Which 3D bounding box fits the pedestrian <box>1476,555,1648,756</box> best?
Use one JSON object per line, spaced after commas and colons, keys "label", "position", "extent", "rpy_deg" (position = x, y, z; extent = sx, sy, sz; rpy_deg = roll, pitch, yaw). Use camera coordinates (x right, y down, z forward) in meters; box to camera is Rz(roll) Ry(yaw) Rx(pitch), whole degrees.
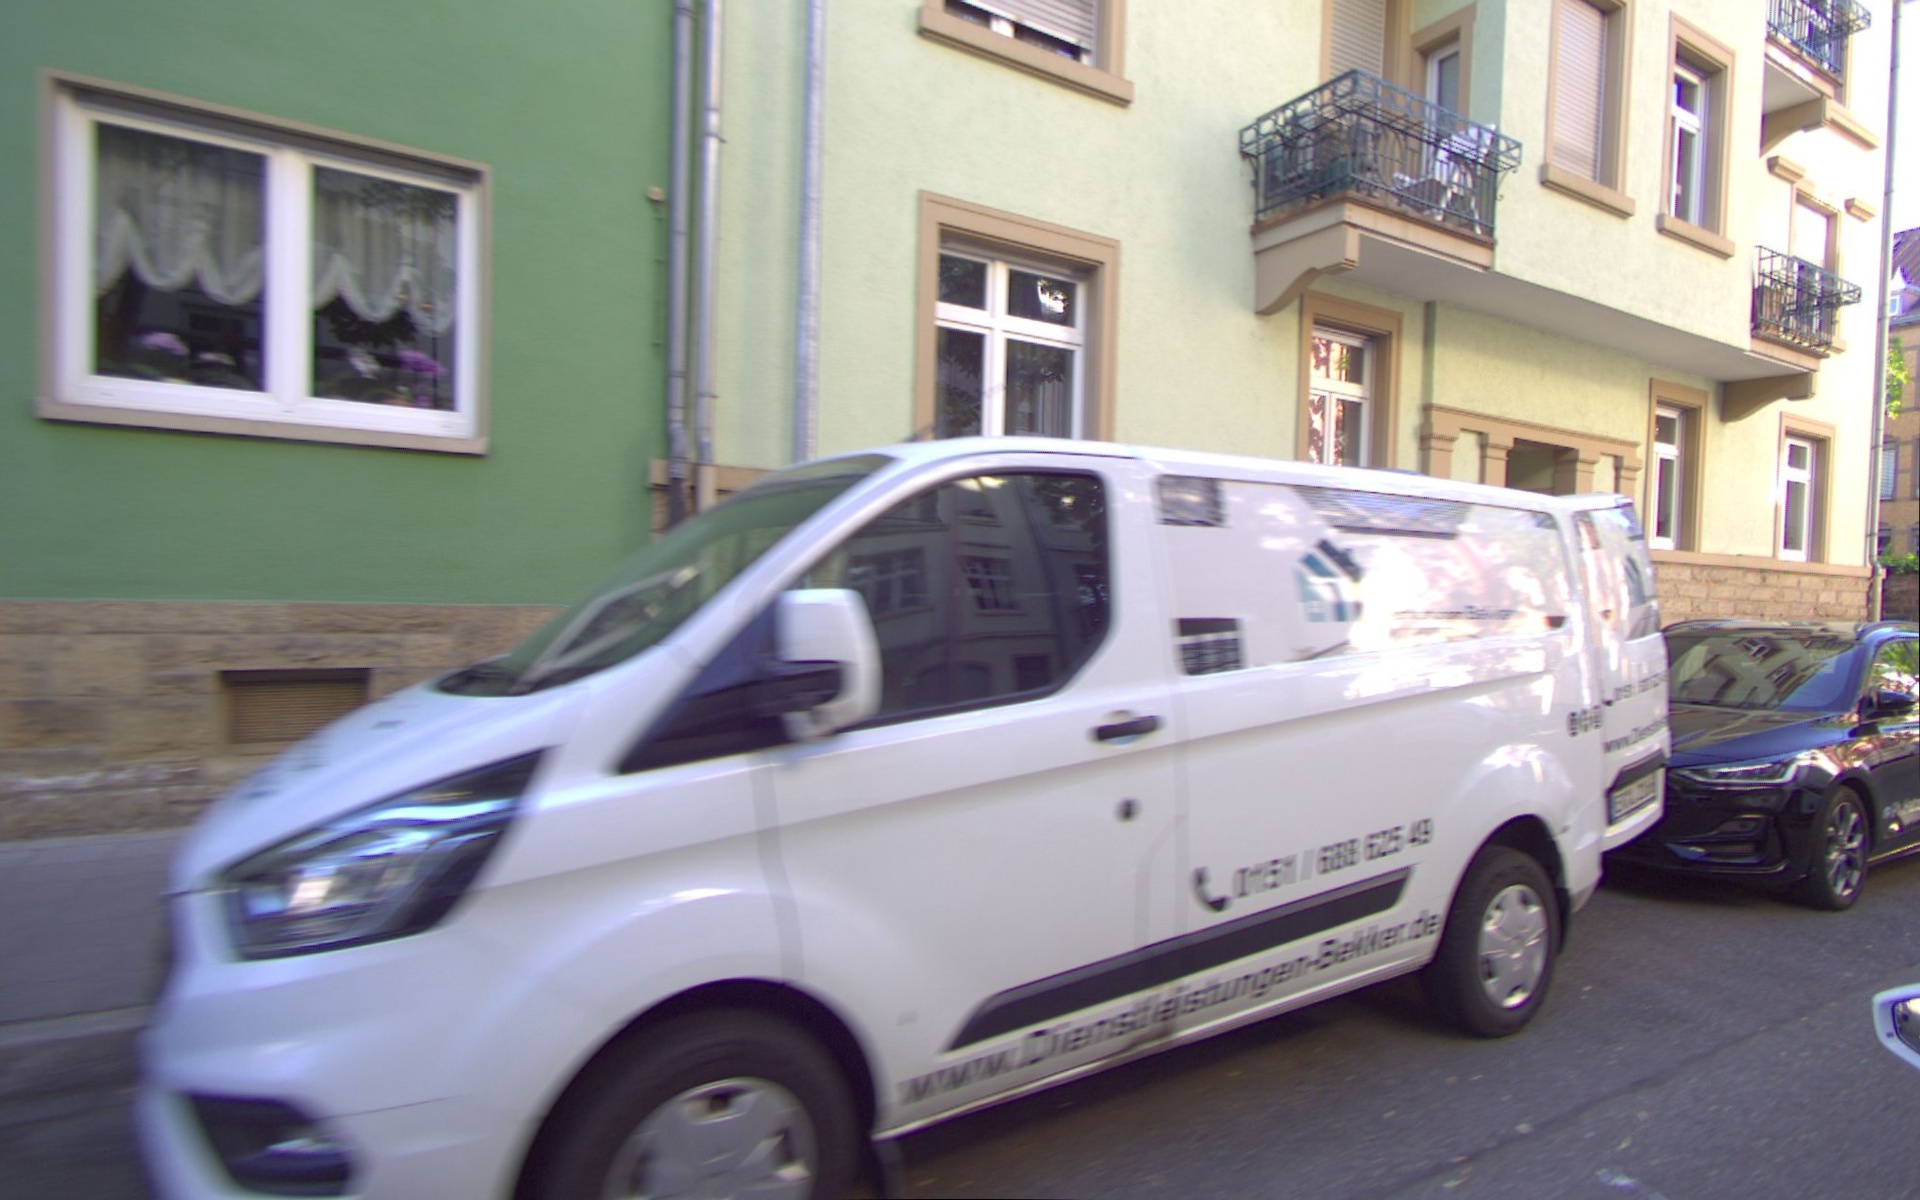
{"label": "pedestrian", "position": [6.086, 0.523, 10.167], "extent": [1.229, 1.886, 0.987], "rpy_deg": [1, 1, -31]}

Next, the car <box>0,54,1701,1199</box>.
{"label": "car", "position": [0.232, 0.434, 3.641], "extent": [5.186, 2.197, 2.239], "rpy_deg": [1, -2, -32]}

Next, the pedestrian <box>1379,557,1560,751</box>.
{"label": "pedestrian", "position": [4.810, 0.474, 9.513], "extent": [1.229, 1.697, 0.987], "rpy_deg": [1, 1, -31]}

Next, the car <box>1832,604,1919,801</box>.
{"label": "car", "position": [9.544, 0.881, 8.858], "extent": [4.042, 1.572, 1.627], "rpy_deg": [2, 0, -31]}

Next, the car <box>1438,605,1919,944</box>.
{"label": "car", "position": [5.430, 0.847, 6.587], "extent": [4.768, 1.542, 1.758], "rpy_deg": [1, 0, -30]}
